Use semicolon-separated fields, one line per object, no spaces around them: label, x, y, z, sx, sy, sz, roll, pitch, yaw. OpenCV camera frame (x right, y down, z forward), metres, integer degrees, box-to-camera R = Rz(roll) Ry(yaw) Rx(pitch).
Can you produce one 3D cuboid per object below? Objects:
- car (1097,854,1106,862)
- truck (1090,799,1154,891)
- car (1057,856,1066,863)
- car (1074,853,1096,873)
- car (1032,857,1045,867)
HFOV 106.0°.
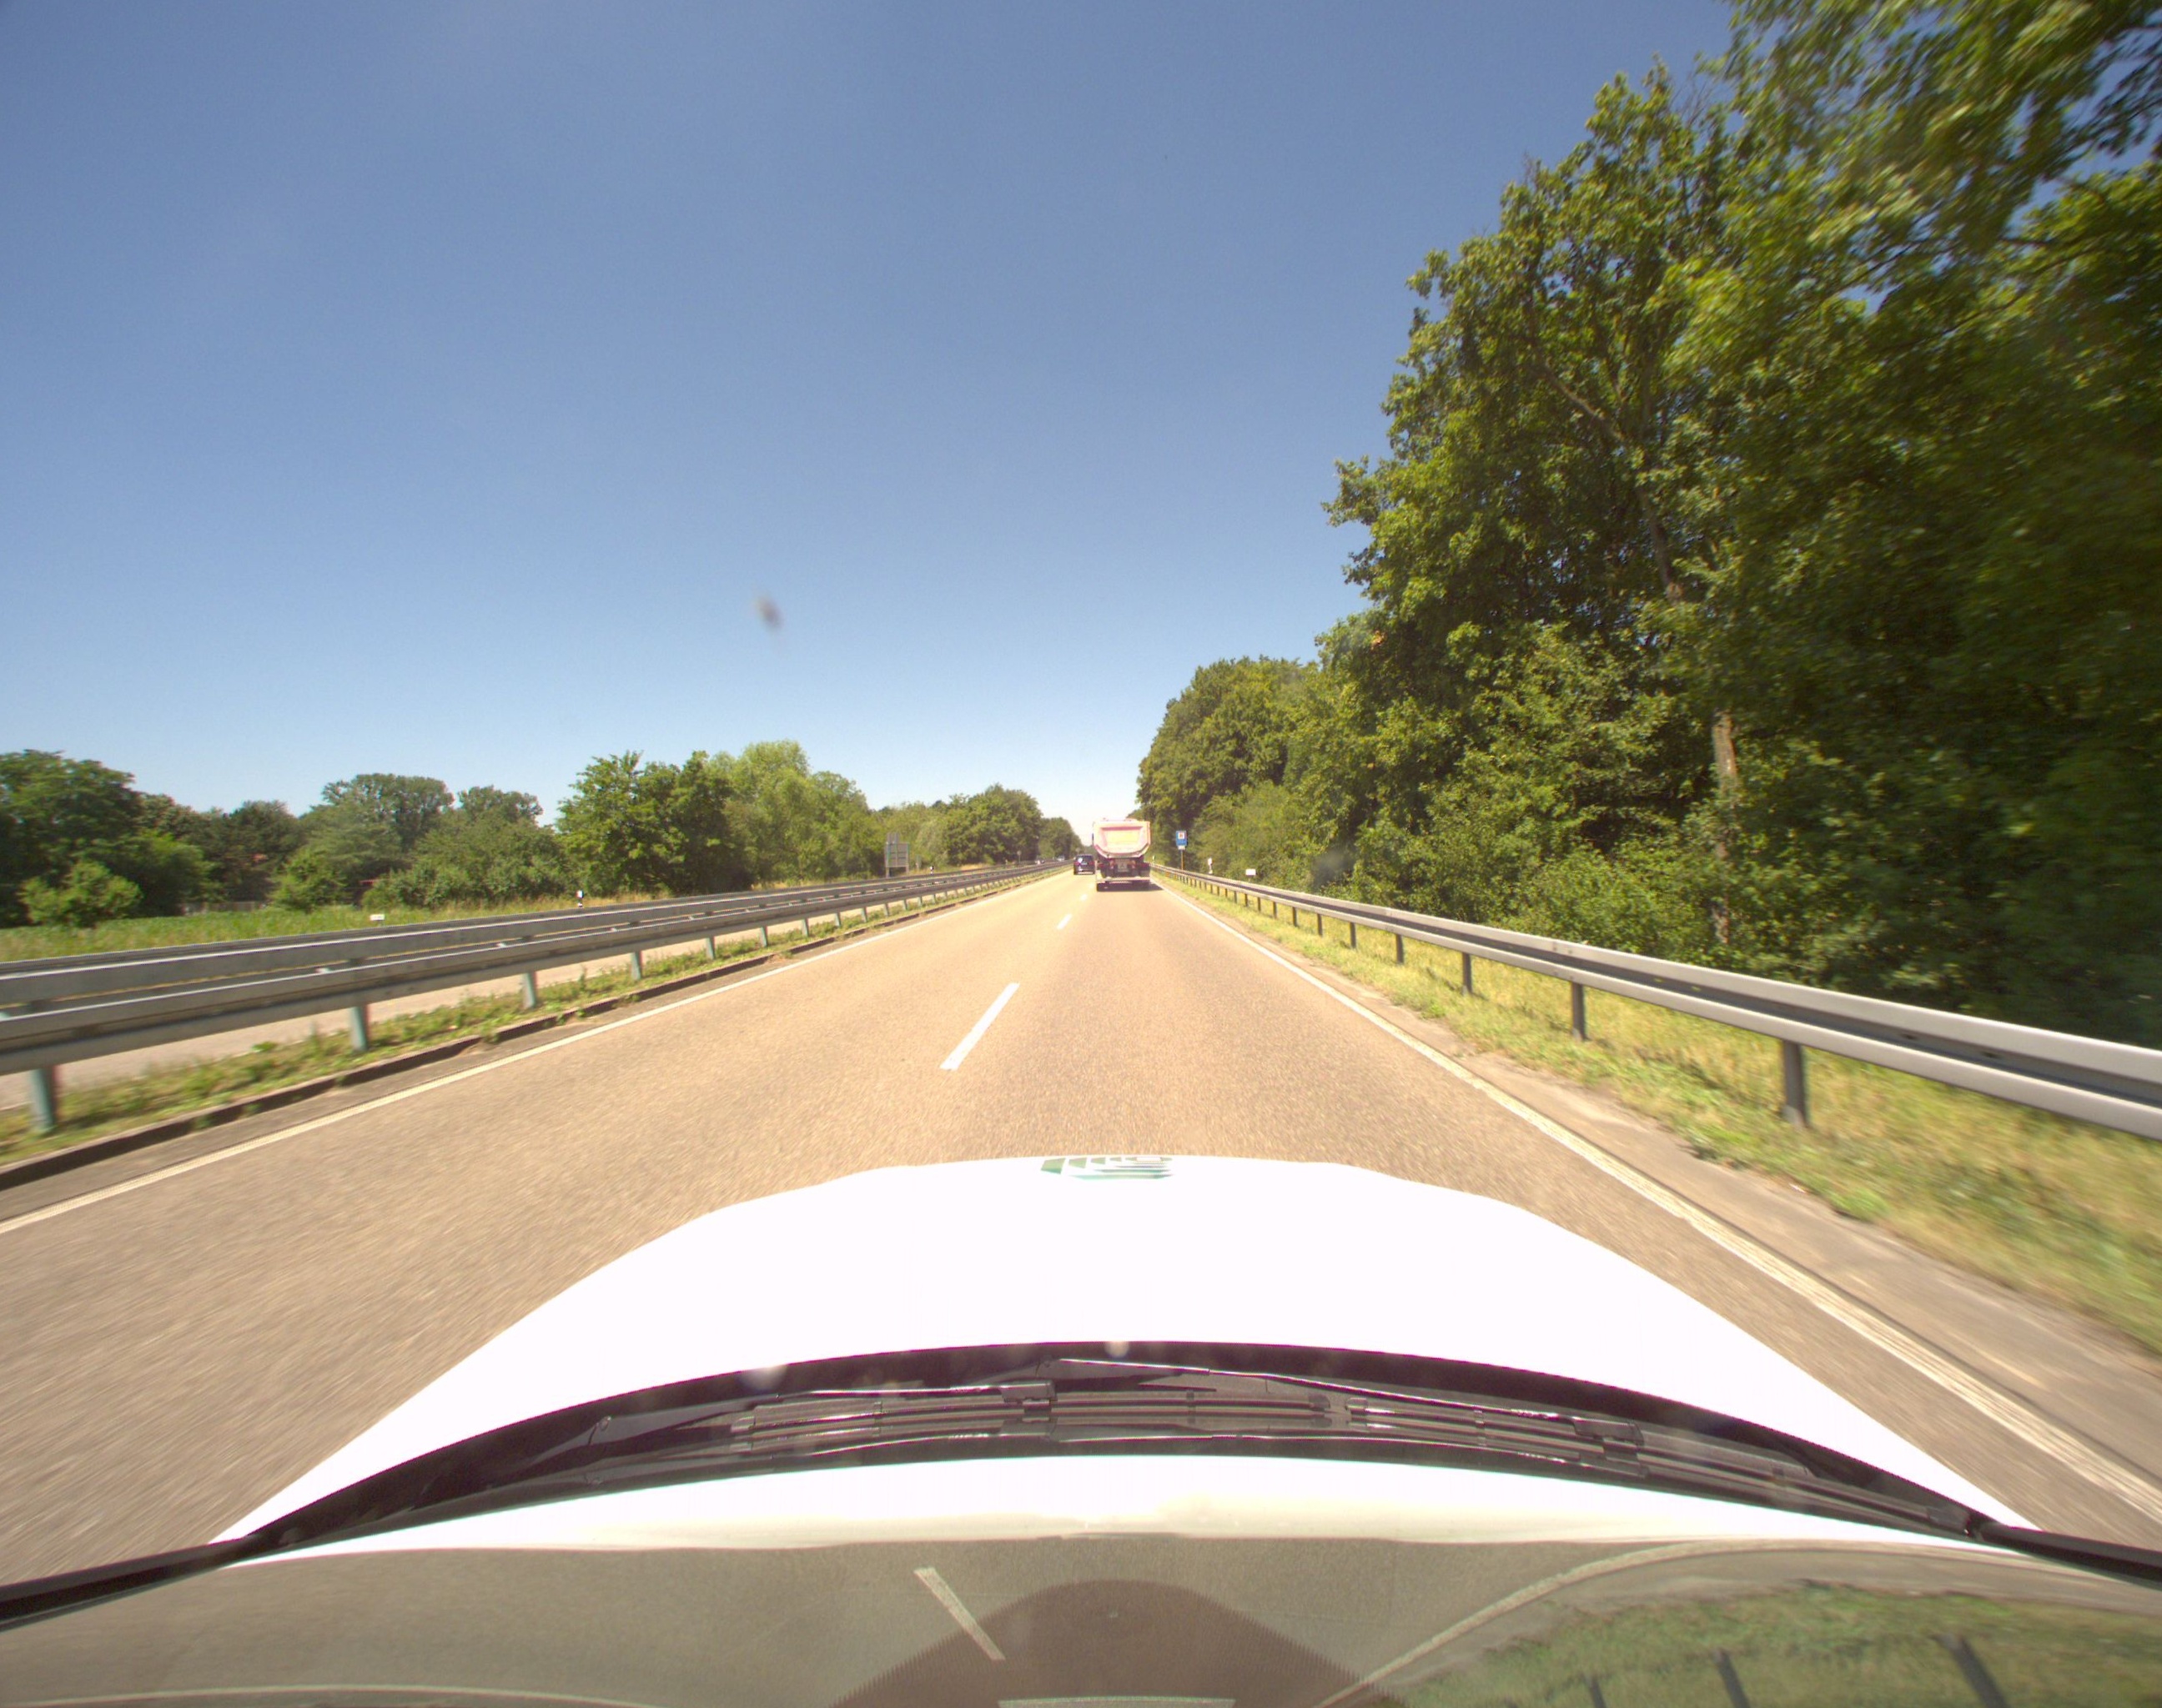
car;4.604;0.963;184.169;1.851;1.718;4.000;-1;-2;1
truck;1.966;-0.384;41.805;2.710;3.930;12.374;-1;0;2
car;-4.783;1.284;203.111;1.805;1.543;4.931;-3;0;2
car;0.372;0.813;71.882;1.851;1.671;4.000;-1;-2;1
car;-7.737;1.399;149.884;1.771;1.620;4.510;-4;0;4
